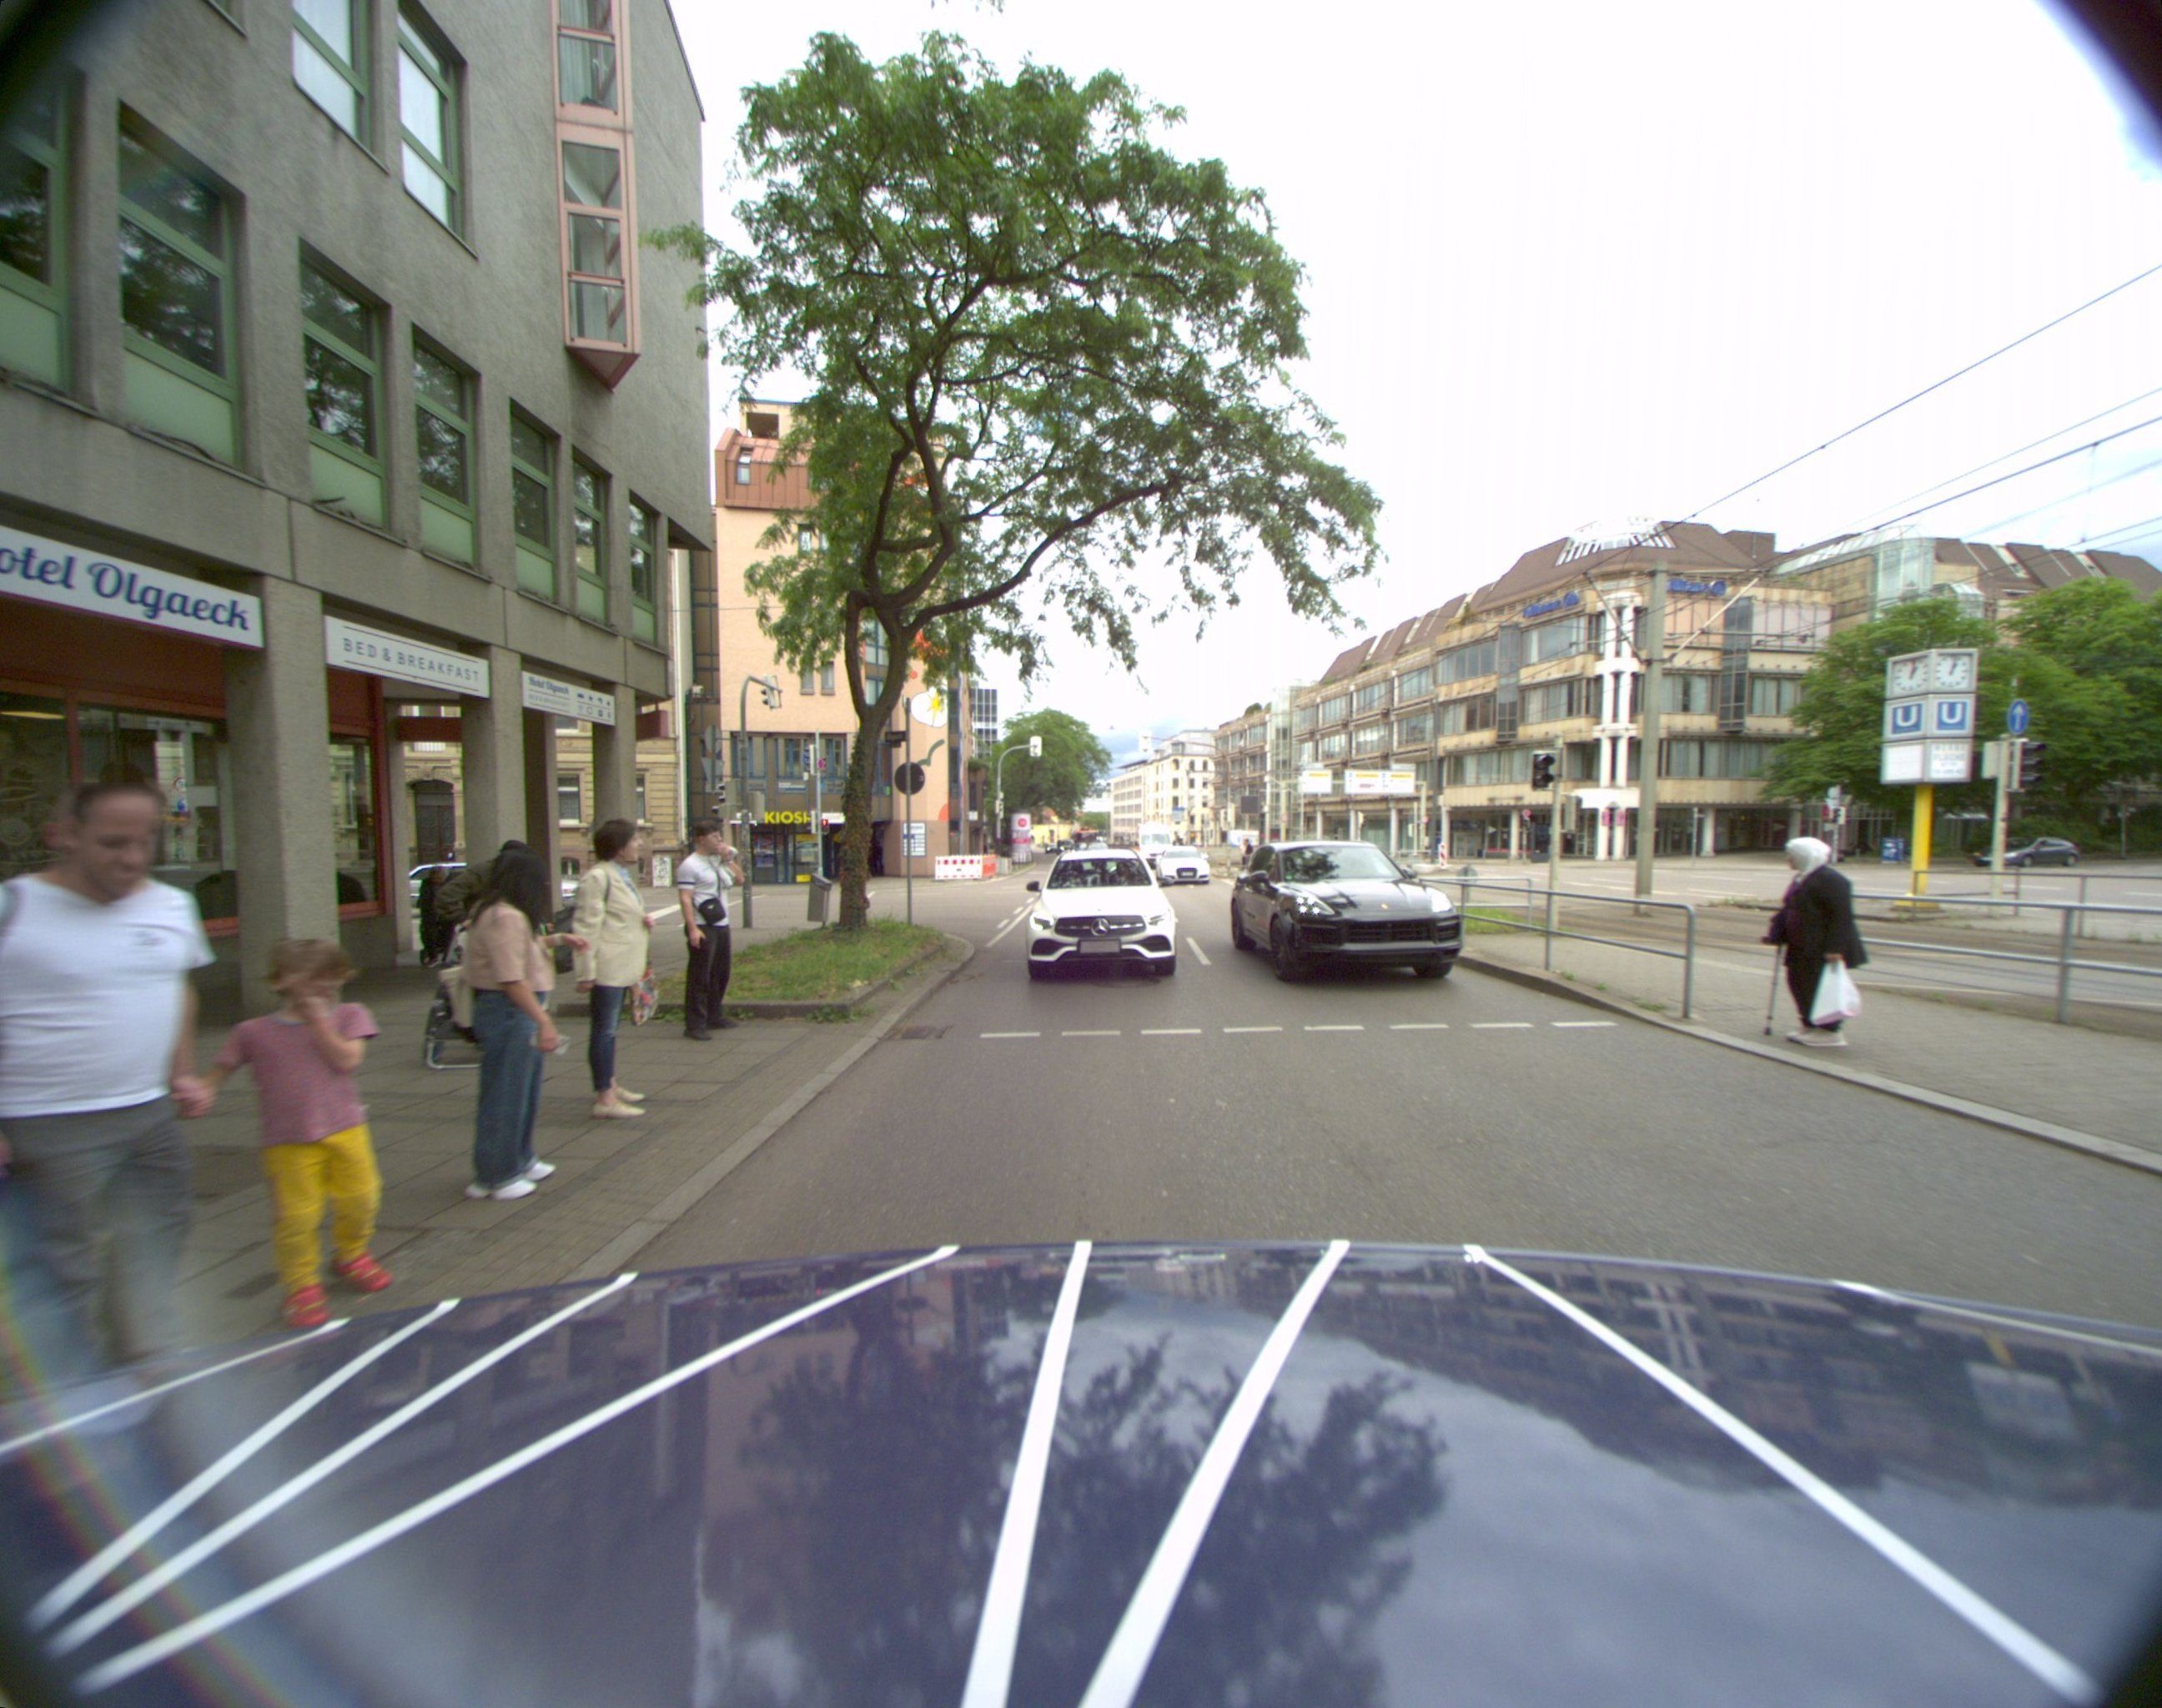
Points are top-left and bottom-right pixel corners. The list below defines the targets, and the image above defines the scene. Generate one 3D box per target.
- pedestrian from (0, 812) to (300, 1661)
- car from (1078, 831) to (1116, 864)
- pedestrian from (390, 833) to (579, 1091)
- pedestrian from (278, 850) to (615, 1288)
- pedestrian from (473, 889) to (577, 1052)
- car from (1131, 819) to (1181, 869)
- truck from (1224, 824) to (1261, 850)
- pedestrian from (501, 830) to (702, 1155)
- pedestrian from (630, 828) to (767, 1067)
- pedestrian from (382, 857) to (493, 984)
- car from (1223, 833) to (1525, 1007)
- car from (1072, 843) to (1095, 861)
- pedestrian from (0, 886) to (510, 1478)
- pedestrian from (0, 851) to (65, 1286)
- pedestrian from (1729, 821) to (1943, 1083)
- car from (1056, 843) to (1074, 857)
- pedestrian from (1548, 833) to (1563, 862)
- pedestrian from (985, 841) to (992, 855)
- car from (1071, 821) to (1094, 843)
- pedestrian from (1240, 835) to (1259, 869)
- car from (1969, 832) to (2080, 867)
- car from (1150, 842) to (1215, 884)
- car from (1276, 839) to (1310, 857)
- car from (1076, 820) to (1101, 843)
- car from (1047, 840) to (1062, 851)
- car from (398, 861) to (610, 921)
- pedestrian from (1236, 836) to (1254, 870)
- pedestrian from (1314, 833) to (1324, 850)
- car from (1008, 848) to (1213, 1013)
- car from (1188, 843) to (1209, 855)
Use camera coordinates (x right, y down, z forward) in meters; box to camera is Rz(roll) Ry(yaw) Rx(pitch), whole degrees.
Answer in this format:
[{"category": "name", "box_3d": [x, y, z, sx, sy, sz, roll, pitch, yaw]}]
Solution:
[{"category": "pedestrian", "box_3d": [-2.567, 0.802, 1.813, 0.520, 1.779, 0.764, -2, 2, -4]}, {"category": "car", "box_3d": [1.115, -0.513, 54.267, 2.503, 2.145, 5.726, -2, 2, 0]}, {"category": "pedestrian", "box_3d": [-4.439, 0.765, 5.728, 0.723, 1.792, 0.834, 1, -1, -4]}, {"category": "pedestrian", "box_3d": [-2.704, 0.843, 3.341, 0.838, 1.694, 0.764, 1, 1, -4]}, {"category": "pedestrian", "box_3d": [-4.861, 0.994, 6.672, 0.472, 1.326, 0.519, -2, 2, -4]}, {"category": "car", "box_3d": [4.435, -0.641, 45.709, 2.281, 2.744, 5.938, -2, 2, -1]}, {"category": "truck", "box_3d": [20.369, -2.208, 96.379, 2.274, 3.059, 7.367, 1, 2, -7]}, {"category": "pedestrian", "box_3d": [-2.818, 0.769, 4.539, 0.695, 1.767, 0.689, 4, 1, -4]}, {"category": "pedestrian", "box_3d": [-3.136, 0.727, 6.312, 0.736, 1.864, 0.733, -1, 2, -4]}, {"category": "pedestrian", "box_3d": [-9.366, 0.927, 11.113, 0.857, 1.702, 1.124, -3, 0, -22]}, {"category": "car", "box_3d": [3.349, 0.611, 10.066, 2.088, 1.665, 5.352, -1, 1, 2]}, {"category": "car", "box_3d": [0.226, -0.215, 70.955, 1.950, 1.521, 3.998, -2, 2, -2]}, {"category": "pedestrian", "box_3d": [-2.606, 0.920, 2.475, 0.838, 1.554, 0.764, -2, 2, -4]}, {"category": "pedestrian", "box_3d": [-4.257, 0.779, 2.546, 0.618, 1.602, 0.764, 1, -1, -4]}, {"category": "pedestrian", "box_3d": [5.269, 0.637, 5.369, 0.637, 1.701, 0.871, -1, 1, 0]}, {"category": "car", "box_3d": [-1.815, -0.463, 85.074, 1.950, 1.521, 3.998, -2, 2, -2]}, {"category": "pedestrian", "box_3d": [28.784, -0.403, 46.101, 0.511, 1.770, 0.577, -1, 2, 2]}, {"category": "pedestrian", "box_3d": [-11.453, -0.739, 94.167, 0.711, 1.701, 0.687, -1, 1, 0]}, {"category": "car", "box_3d": [0.151, -3.037, 104.750, 2.504, 2.793, 5.723, -2, 2, -5]}, {"category": "pedestrian", "box_3d": [8.481, -0.120, 38.297, 0.794, 1.712, 0.772, -1, 2, -1]}, {"category": "car", "box_3d": [45.945, -0.257, 37.028, 4.002, 1.522, 1.948, -2, 2, -15]}, {"category": "car", "box_3d": [4.040, 0.299, 30.903, 1.950, 1.521, 3.998, -2, 2, -2]}, {"category": "car", "box_3d": [22.160, -0.652, 79.623, 1.678, 1.749, 4.778, -2, 2, -7]}, {"category": "car", "box_3d": [0.919, -2.826, 97.275, 2.504, 2.793, 5.723, -2, 2, -5]}, {"category": "car", "box_3d": [-3.697, -1.208, 105.408, 1.950, 1.521, 3.998, -2, 2, -2]}, {"category": "car", "box_3d": [-15.496, 0.959, 20.651, 4.162, 1.420, 1.852, -1, 1, -12]}, {"category": "pedestrian", "box_3d": [8.428, -0.071, 39.070, 0.766, 1.712, 0.637, -1, 2, -1]}, {"category": "pedestrian", "box_3d": [25.969, -1.331, 82.893, 0.732, 1.801, 0.739, -2, 2, -5]}, {"category": "car", "box_3d": [0.148, 0.777, 9.970, 2.061, 1.599, 3.923, -2, 2, -7]}, {"category": "car", "box_3d": [15.814, -0.717, 102.687, 1.662, 1.543, 4.531, -1, 1, -7]}]
